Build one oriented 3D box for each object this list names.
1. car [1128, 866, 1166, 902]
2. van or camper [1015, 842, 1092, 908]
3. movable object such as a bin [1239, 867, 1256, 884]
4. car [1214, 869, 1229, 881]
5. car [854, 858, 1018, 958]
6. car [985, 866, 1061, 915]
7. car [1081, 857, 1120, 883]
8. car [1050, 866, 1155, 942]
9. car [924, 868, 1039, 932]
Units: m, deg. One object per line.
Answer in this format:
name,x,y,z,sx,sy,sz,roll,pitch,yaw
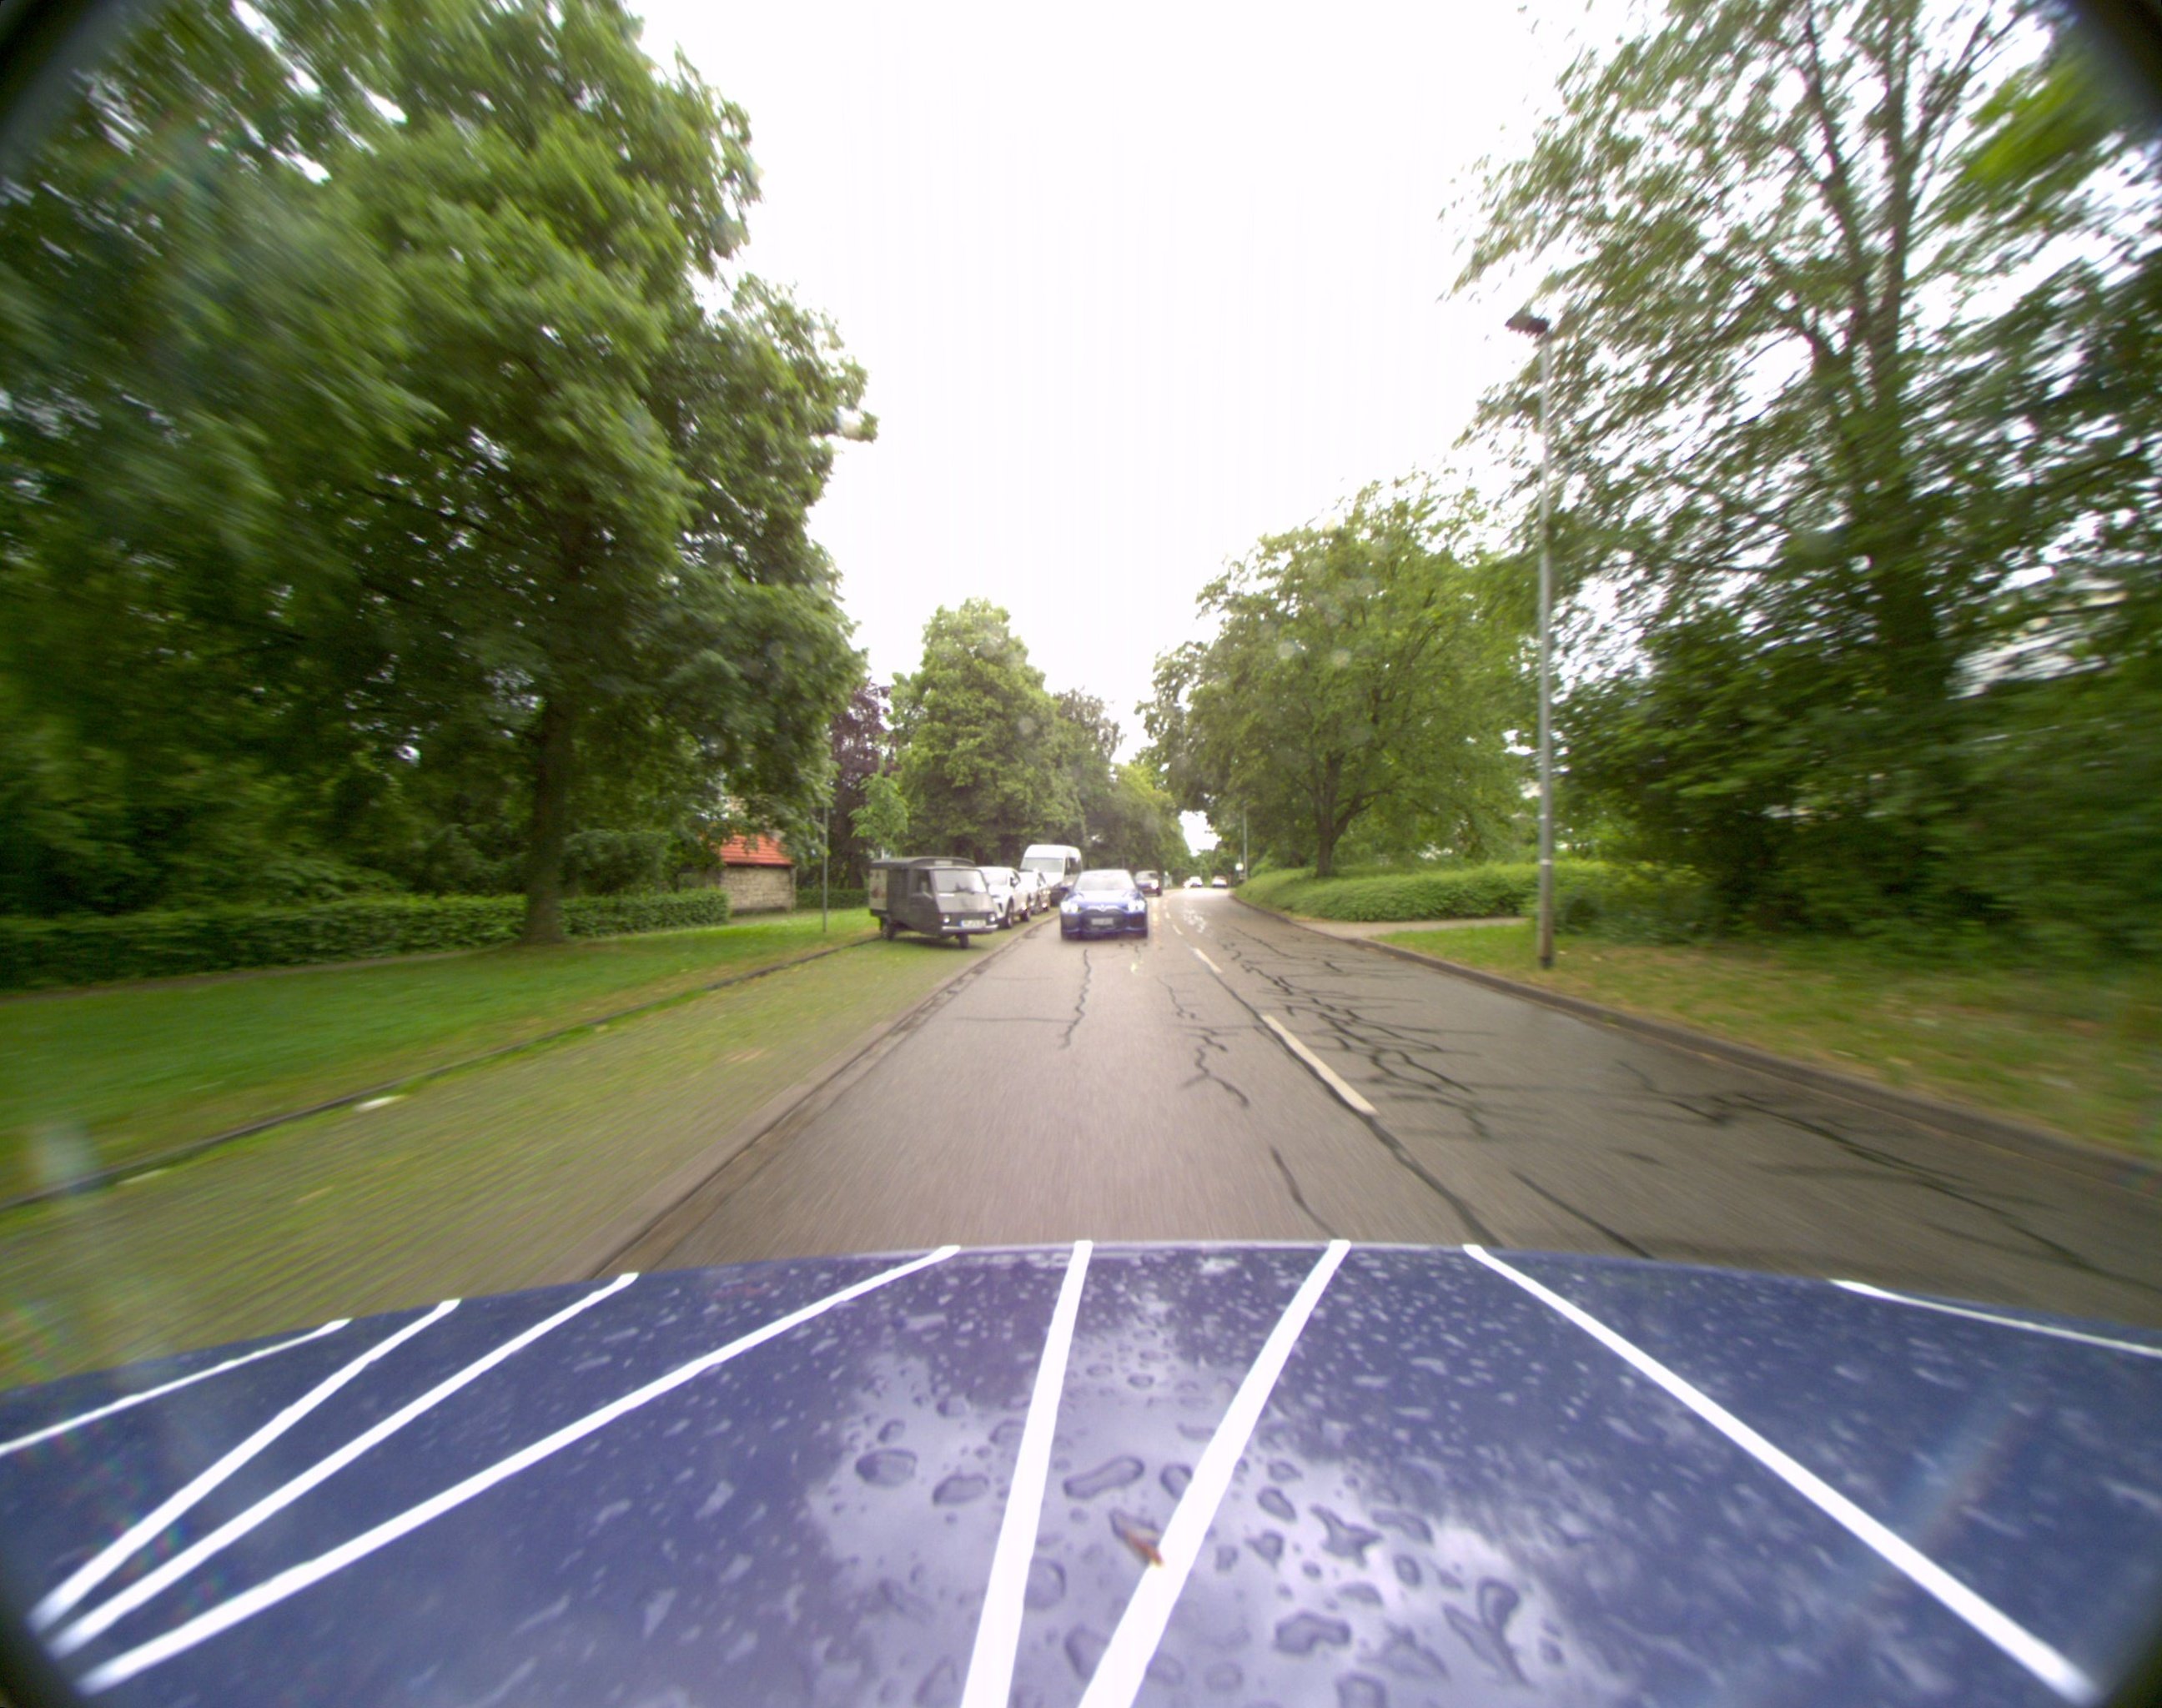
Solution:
car,3.976,1.805,45.163,1.997,2.001,4.005,-1,-3,9
van or camper,-1.023,0.928,33.735,2.020,2.567,8.443,0,-2,7
movable object such as a bin,11.597,1.493,52.885,1.039,1.098,0.967,-3,-2,13
car,17.354,2.607,93.794,1.668,1.468,3.736,2,-1,12
car,-3.019,0.945,15.215,1.615,1.671,3.996,0,0,-37
car,-1.890,1.206,26.292,1.808,1.529,4.270,1,-1,7
car,1.479,1.176,55.851,1.747,1.442,4.005,-15,-5,12
car,0.361,1.101,17.293,1.840,1.501,4.000,0,-3,-6
car,-2.467,1.129,20.081,1.997,1.488,4.570,0,-1,6
